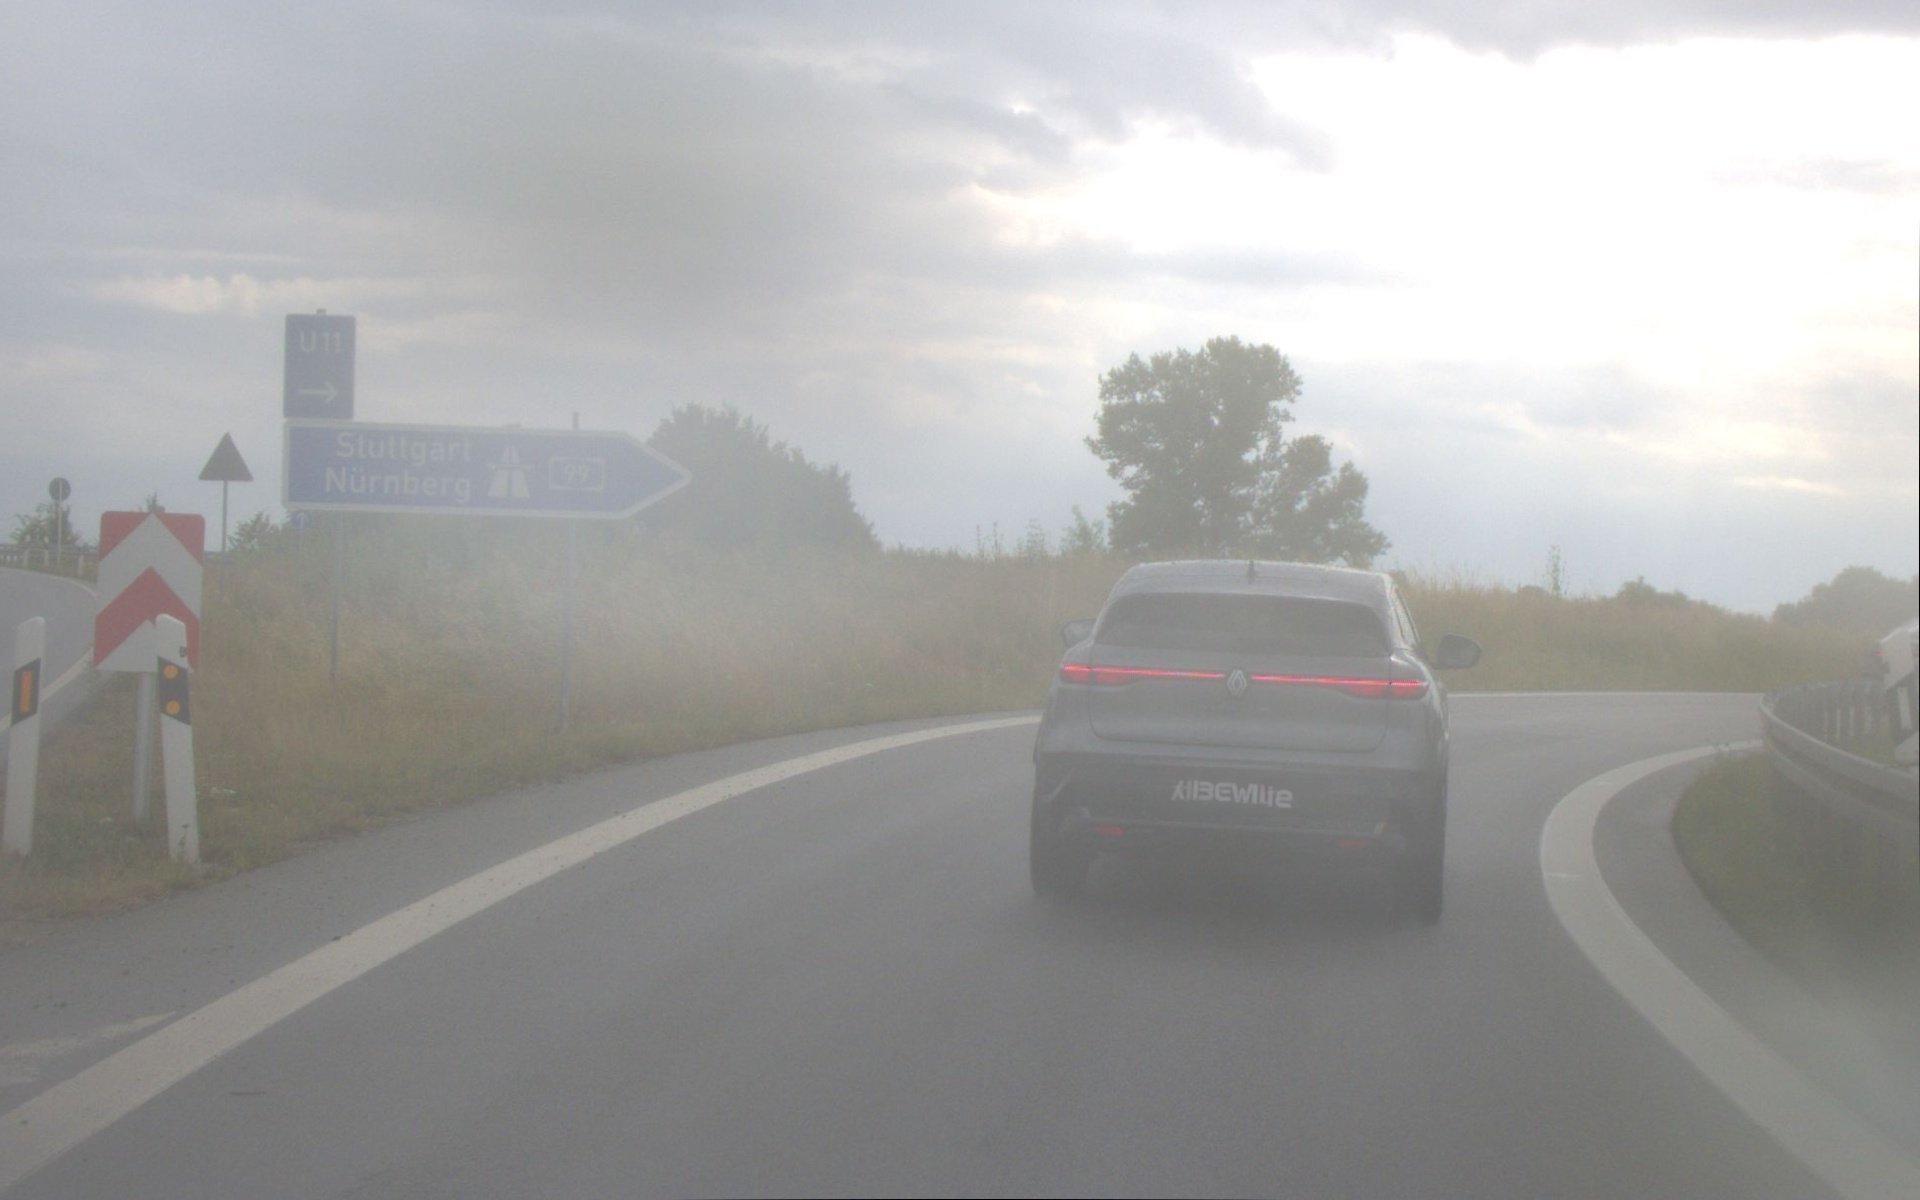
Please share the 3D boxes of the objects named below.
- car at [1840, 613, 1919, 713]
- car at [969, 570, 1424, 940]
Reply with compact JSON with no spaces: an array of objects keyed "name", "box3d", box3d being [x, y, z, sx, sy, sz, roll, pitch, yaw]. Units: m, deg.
[{"name":"car","box3d":[14.880,1.034,53.373,1.793,1.436,3.995,3,-1,22]},{"name":"car","box3d":[1.131,0.624,15.777,1.792,1.436,3.999,1,0,5]}]
